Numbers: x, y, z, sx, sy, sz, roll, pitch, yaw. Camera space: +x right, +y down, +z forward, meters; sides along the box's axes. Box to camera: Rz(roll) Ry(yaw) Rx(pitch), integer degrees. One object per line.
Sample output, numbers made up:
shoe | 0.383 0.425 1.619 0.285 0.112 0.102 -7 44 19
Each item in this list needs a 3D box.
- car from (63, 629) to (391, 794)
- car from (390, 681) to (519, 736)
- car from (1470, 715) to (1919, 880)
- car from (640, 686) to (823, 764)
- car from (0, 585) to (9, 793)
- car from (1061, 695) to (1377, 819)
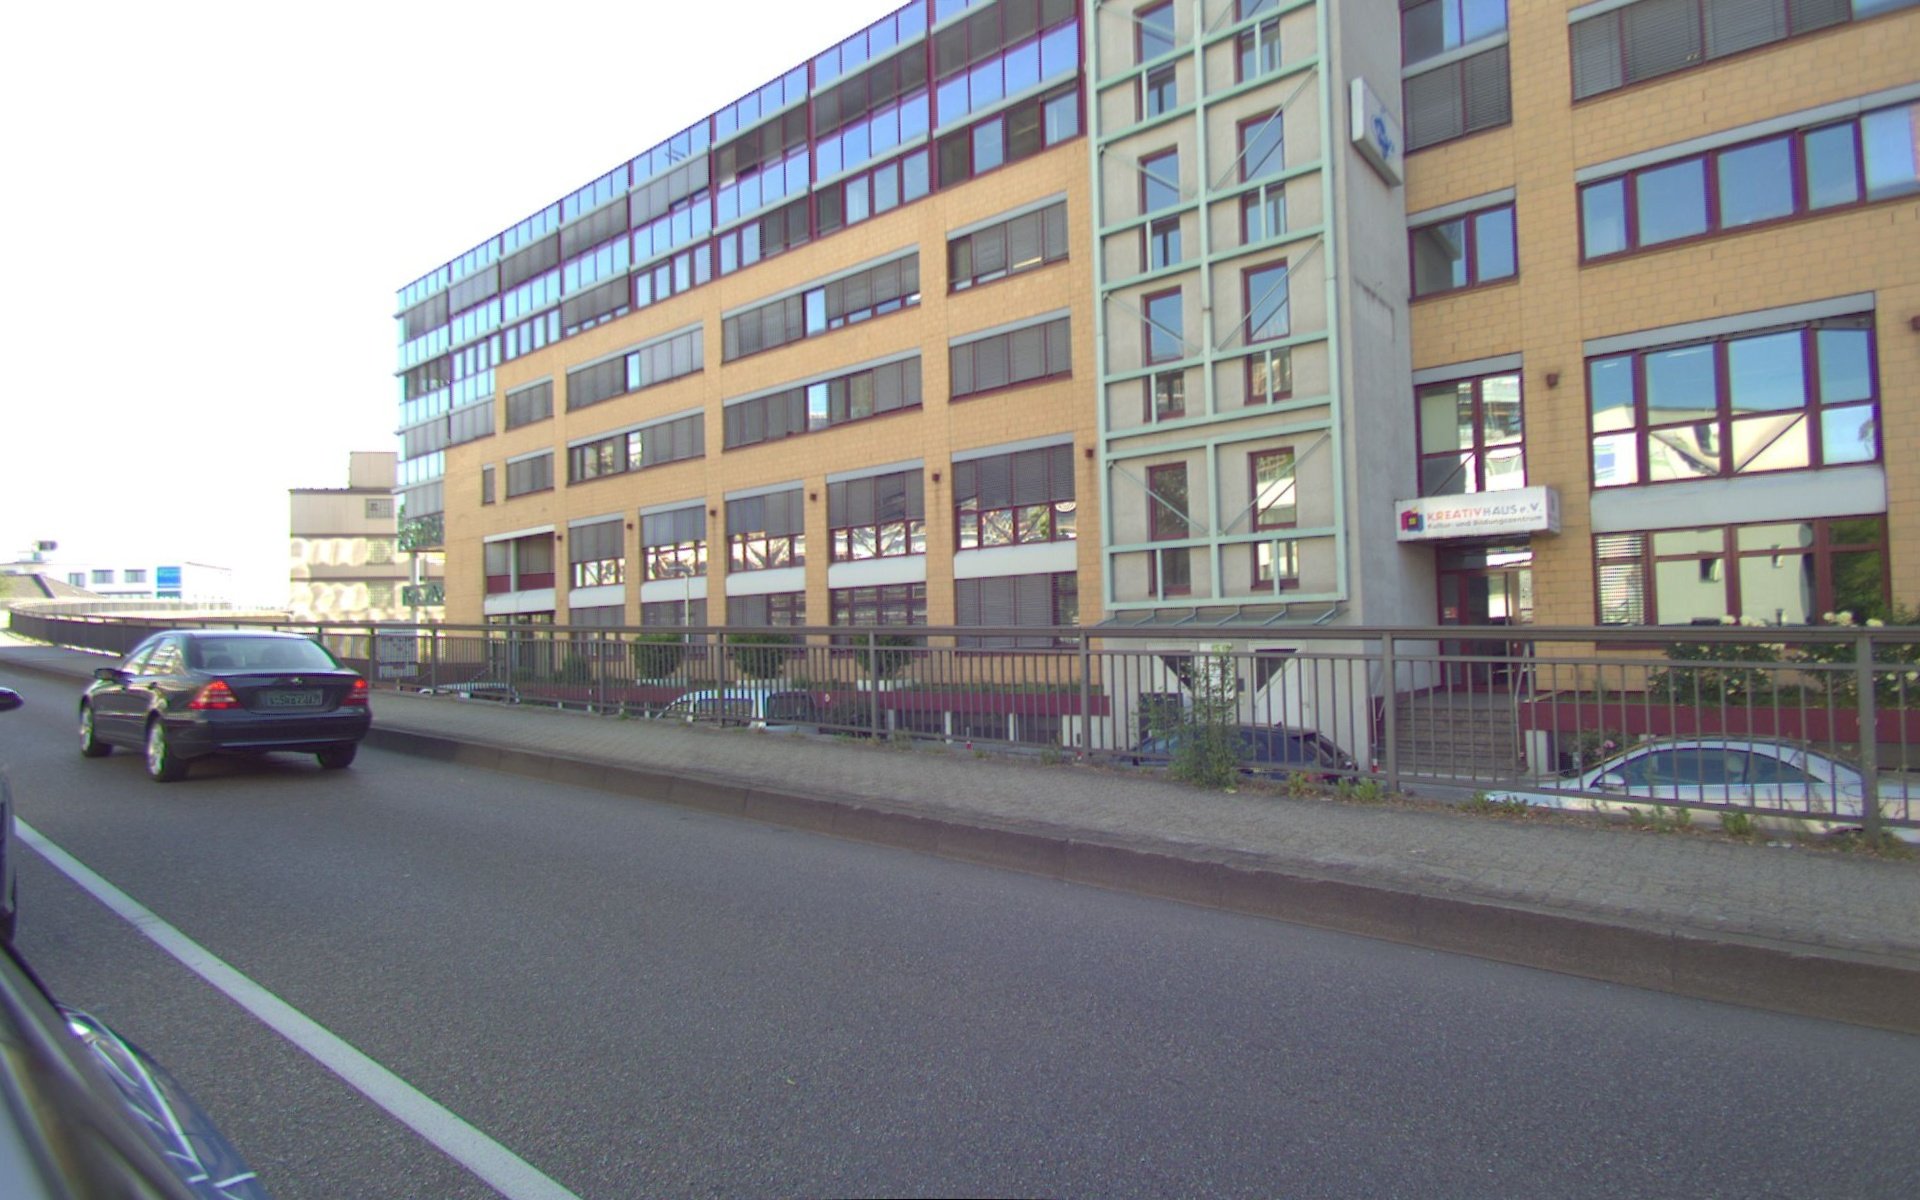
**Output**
car | -7.838 1.022 10.690 4.195 1.418 1.725 -2 -2 38
car | -13.828 2.918 27.626 3.805 1.279 1.744 -3 -4 39
car | 7.679 1.879 10.208 4.254 1.175 1.704 -3 -4 40
car | -4.601 2.417 20.127 3.805 1.279 1.560 -3 -4 40
car | -5.849 0.814 4.657 3.998 1.660 1.726 -3 -4 41
car | 3.378 1.998 13.588 3.805 1.279 1.560 -3 -4 40
